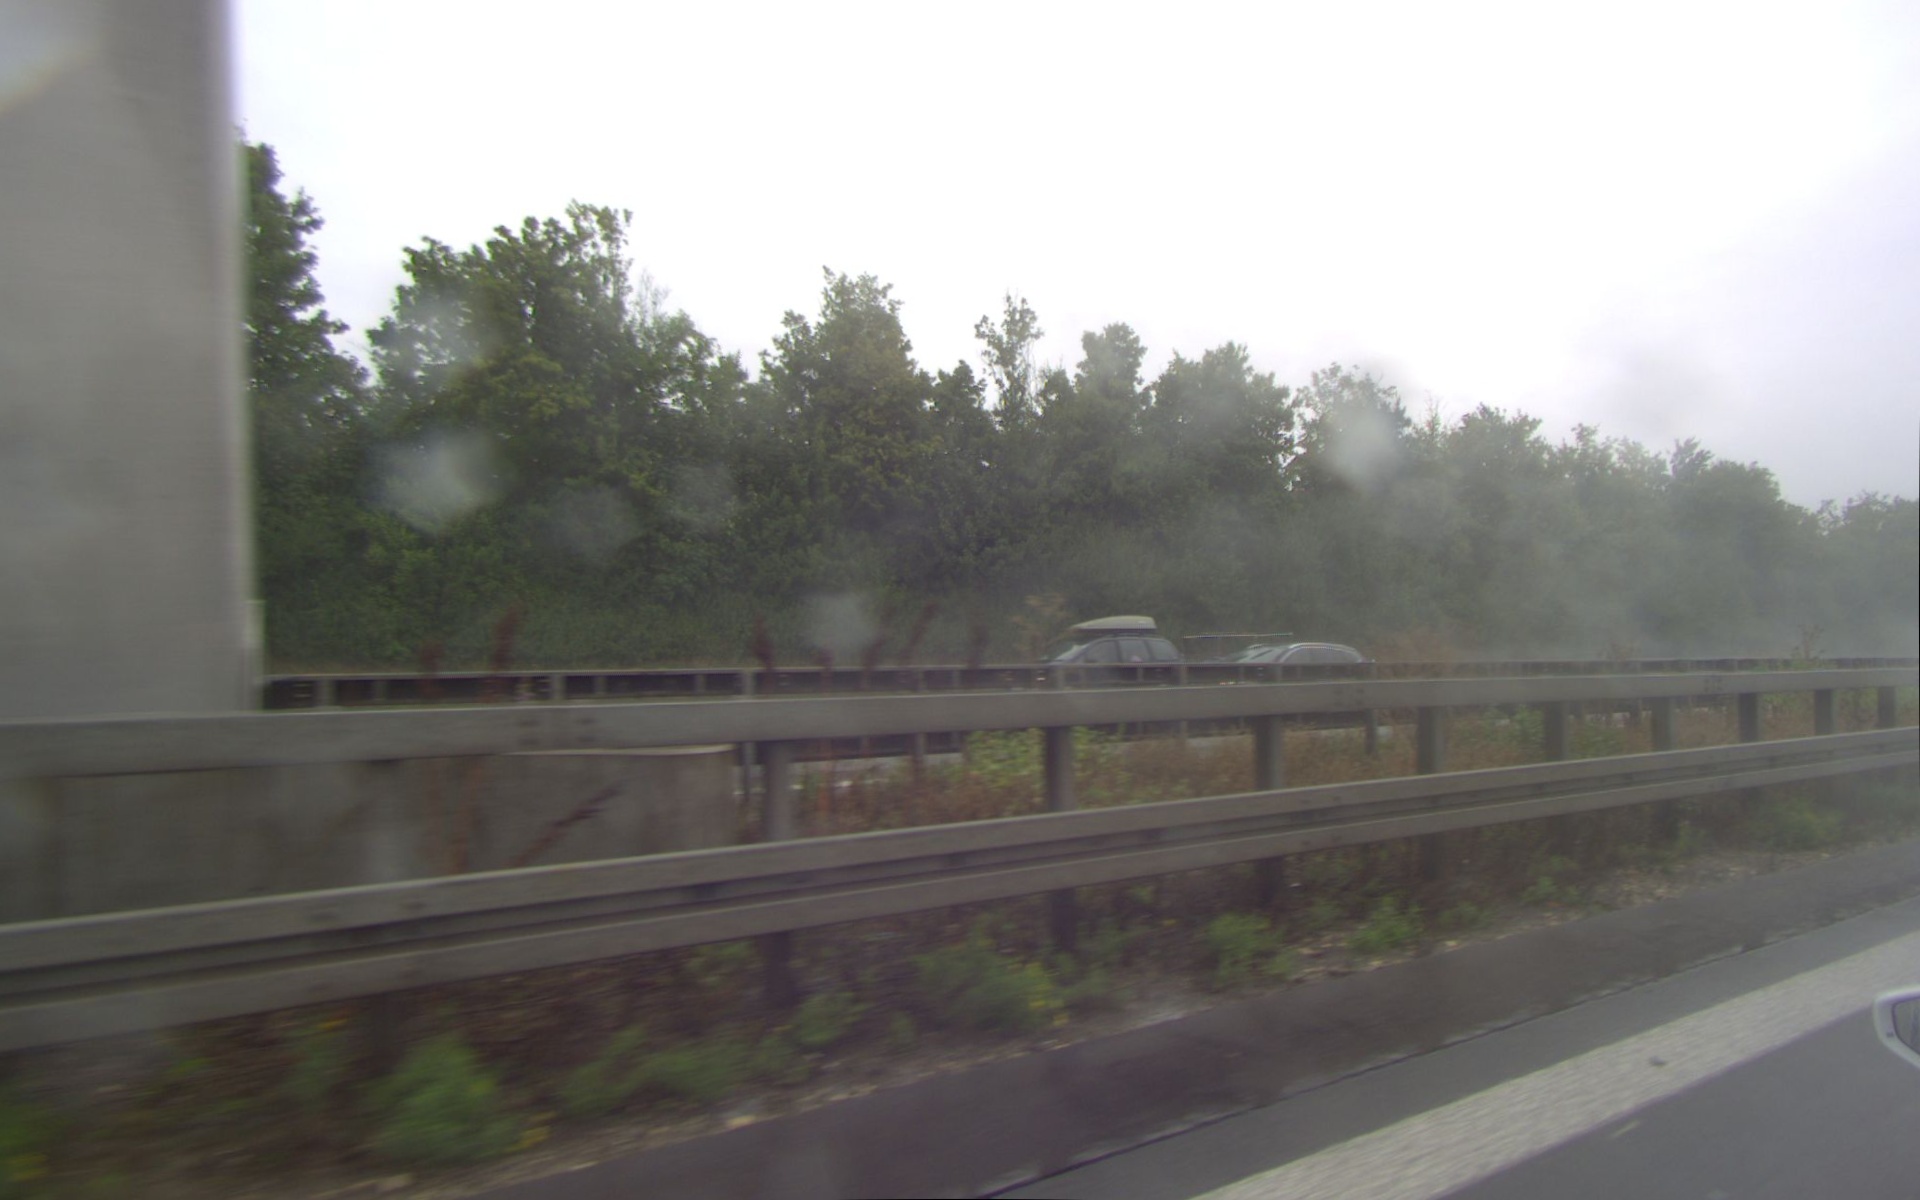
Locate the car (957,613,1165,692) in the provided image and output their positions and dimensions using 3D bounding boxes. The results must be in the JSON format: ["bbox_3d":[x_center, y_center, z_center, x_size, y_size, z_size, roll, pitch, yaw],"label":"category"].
[{"bbox_3d":[2.463,1.171,24.022,4.727,1.684,1.983,0,0,-31],"label":"car"}]

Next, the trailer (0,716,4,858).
[{"bbox_3d":[-9.057,1.568,6.926,3.253,1.178,1.680,0,0,-31],"label":"trailer"}]

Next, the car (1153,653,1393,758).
[{"bbox_3d":[6.348,2.009,20.218,4.727,1.684,1.983,0,0,-31],"label":"car"}]
